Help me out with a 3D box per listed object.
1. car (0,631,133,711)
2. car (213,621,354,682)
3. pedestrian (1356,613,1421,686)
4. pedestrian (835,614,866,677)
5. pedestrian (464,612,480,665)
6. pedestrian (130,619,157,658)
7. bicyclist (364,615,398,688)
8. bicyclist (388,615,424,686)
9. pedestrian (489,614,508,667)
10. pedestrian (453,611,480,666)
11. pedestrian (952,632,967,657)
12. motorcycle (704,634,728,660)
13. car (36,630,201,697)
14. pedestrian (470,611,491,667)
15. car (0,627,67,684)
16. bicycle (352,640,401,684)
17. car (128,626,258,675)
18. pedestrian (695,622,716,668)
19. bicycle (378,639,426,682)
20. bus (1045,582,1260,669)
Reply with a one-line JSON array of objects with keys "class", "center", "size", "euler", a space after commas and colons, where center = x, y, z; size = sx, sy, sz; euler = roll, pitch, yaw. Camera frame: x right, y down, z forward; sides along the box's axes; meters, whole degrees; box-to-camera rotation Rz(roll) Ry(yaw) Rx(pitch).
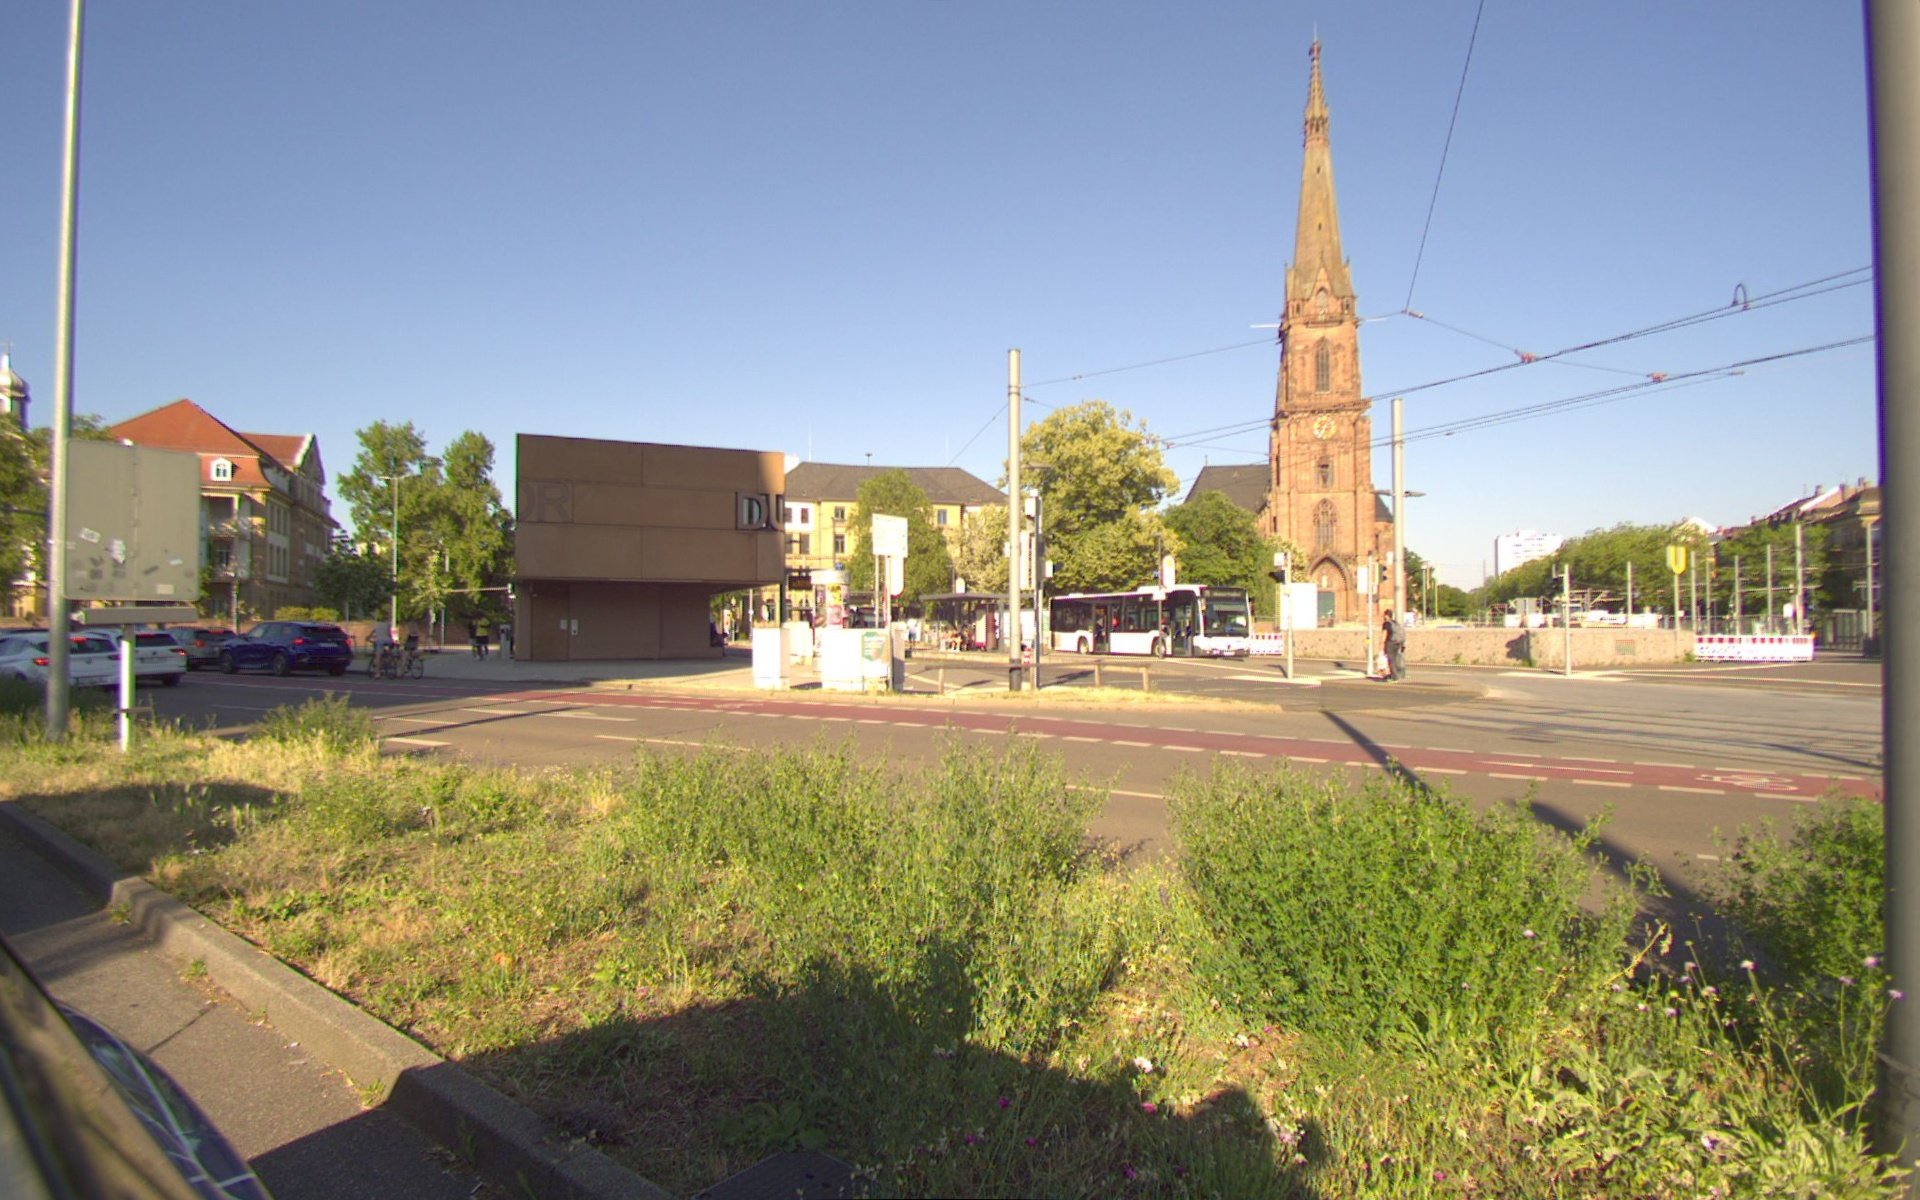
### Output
[{"class": "car", "center": [-19.587, 1.429, 21.286], "size": [4.164, 1.471, 1.742], "euler": [-1, 0, 25]}, {"class": "car", "center": [-20.132, 1.486, 30.089], "size": [4.169, 1.703, 1.740], "euler": [-1, -1, 28]}, {"class": "pedestrian", "center": [10.334, 1.171, 24.435], "size": [1.025, 1.696, 1.007], "euler": [-1, 0, -25]}, {"class": "pedestrian", "center": [-3.184, 1.316, 29.455], "size": [0.702, 1.771, 0.584], "euler": [-1, 0, -30]}, {"class": "pedestrian", "center": [-19.104, 1.501, 39.625], "size": [0.460, 2.029, 0.658], "euler": [-1, 0, -33]}, {"class": "pedestrian", "center": [-40.374, 1.906, 50.049], "size": [0.787, 1.911, 0.612], "euler": [0, -2, -9]}, {"class": "bicyclist", "center": [-16.327, 1.439, 28.547], "size": [0.562, 2.029, 0.605], "euler": [-1, -2, 25]}, {"class": "bicyclist", "center": [-15.971, 1.443, 29.190], "size": [0.705, 2.029, 0.605], "euler": [-1, -2, 25]}, {"class": "pedestrian", "center": [-18.061, 1.574, 39.613], "size": [0.645, 2.029, 0.470], "euler": [-1, 0, -29]}, {"class": "pedestrian", "center": [-18.753, 1.454, 38.441], "size": [0.765, 2.029, 0.775], "euler": [-1, 0, -37]}, {"class": "pedestrian", "center": [-0.020, 2.186, 49.934], "size": [0.531, 1.196, 0.660], "euler": [-1, 0, -21]}, {"class": "motorcycle", "center": [-10.142, 1.951, 42.086], "size": [0.935, 1.075, 0.331], "euler": [-1, 0, -11]}, {"class": "car", "center": [-21.267, 1.539, 25.551], "size": [4.375, 1.503, 1.831], "euler": [-1, 0, 30]}, {"class": "pedestrian", "center": [-17.733, 1.430, 37.429], "size": [0.645, 2.029, 0.470], "euler": [-1, 0, -29]}, {"class": "car", "center": [-27.313, 1.552, 28.825], "size": [4.175, 1.471, 1.737], "euler": [-1, 0, 32]}, {"class": "bicycle", "center": [-16.544, 1.742, 28.681], "size": [1.388, 1.201, 0.461], "euler": [-1, 0, 23]}, {"class": "car", "center": [-25.209, 1.653, 33.224], "size": [4.375, 1.503, 1.831], "euler": [-1, -4, 30]}, {"class": "pedestrian", "center": [-11.352, 2.010, 45.179], "size": [0.762, 2.029, 0.778], "euler": [-1, 0, -2]}, {"class": "bicycle", "center": [-16.136, 1.736, 29.272], "size": [1.388, 1.201, 0.461], "euler": [-1, 0, 23]}, {"class": "bus", "center": [7.716, 0.960, 43.428], "size": [2.655, 3.174, 12.216], "euler": [-1, 0, -23]}]
